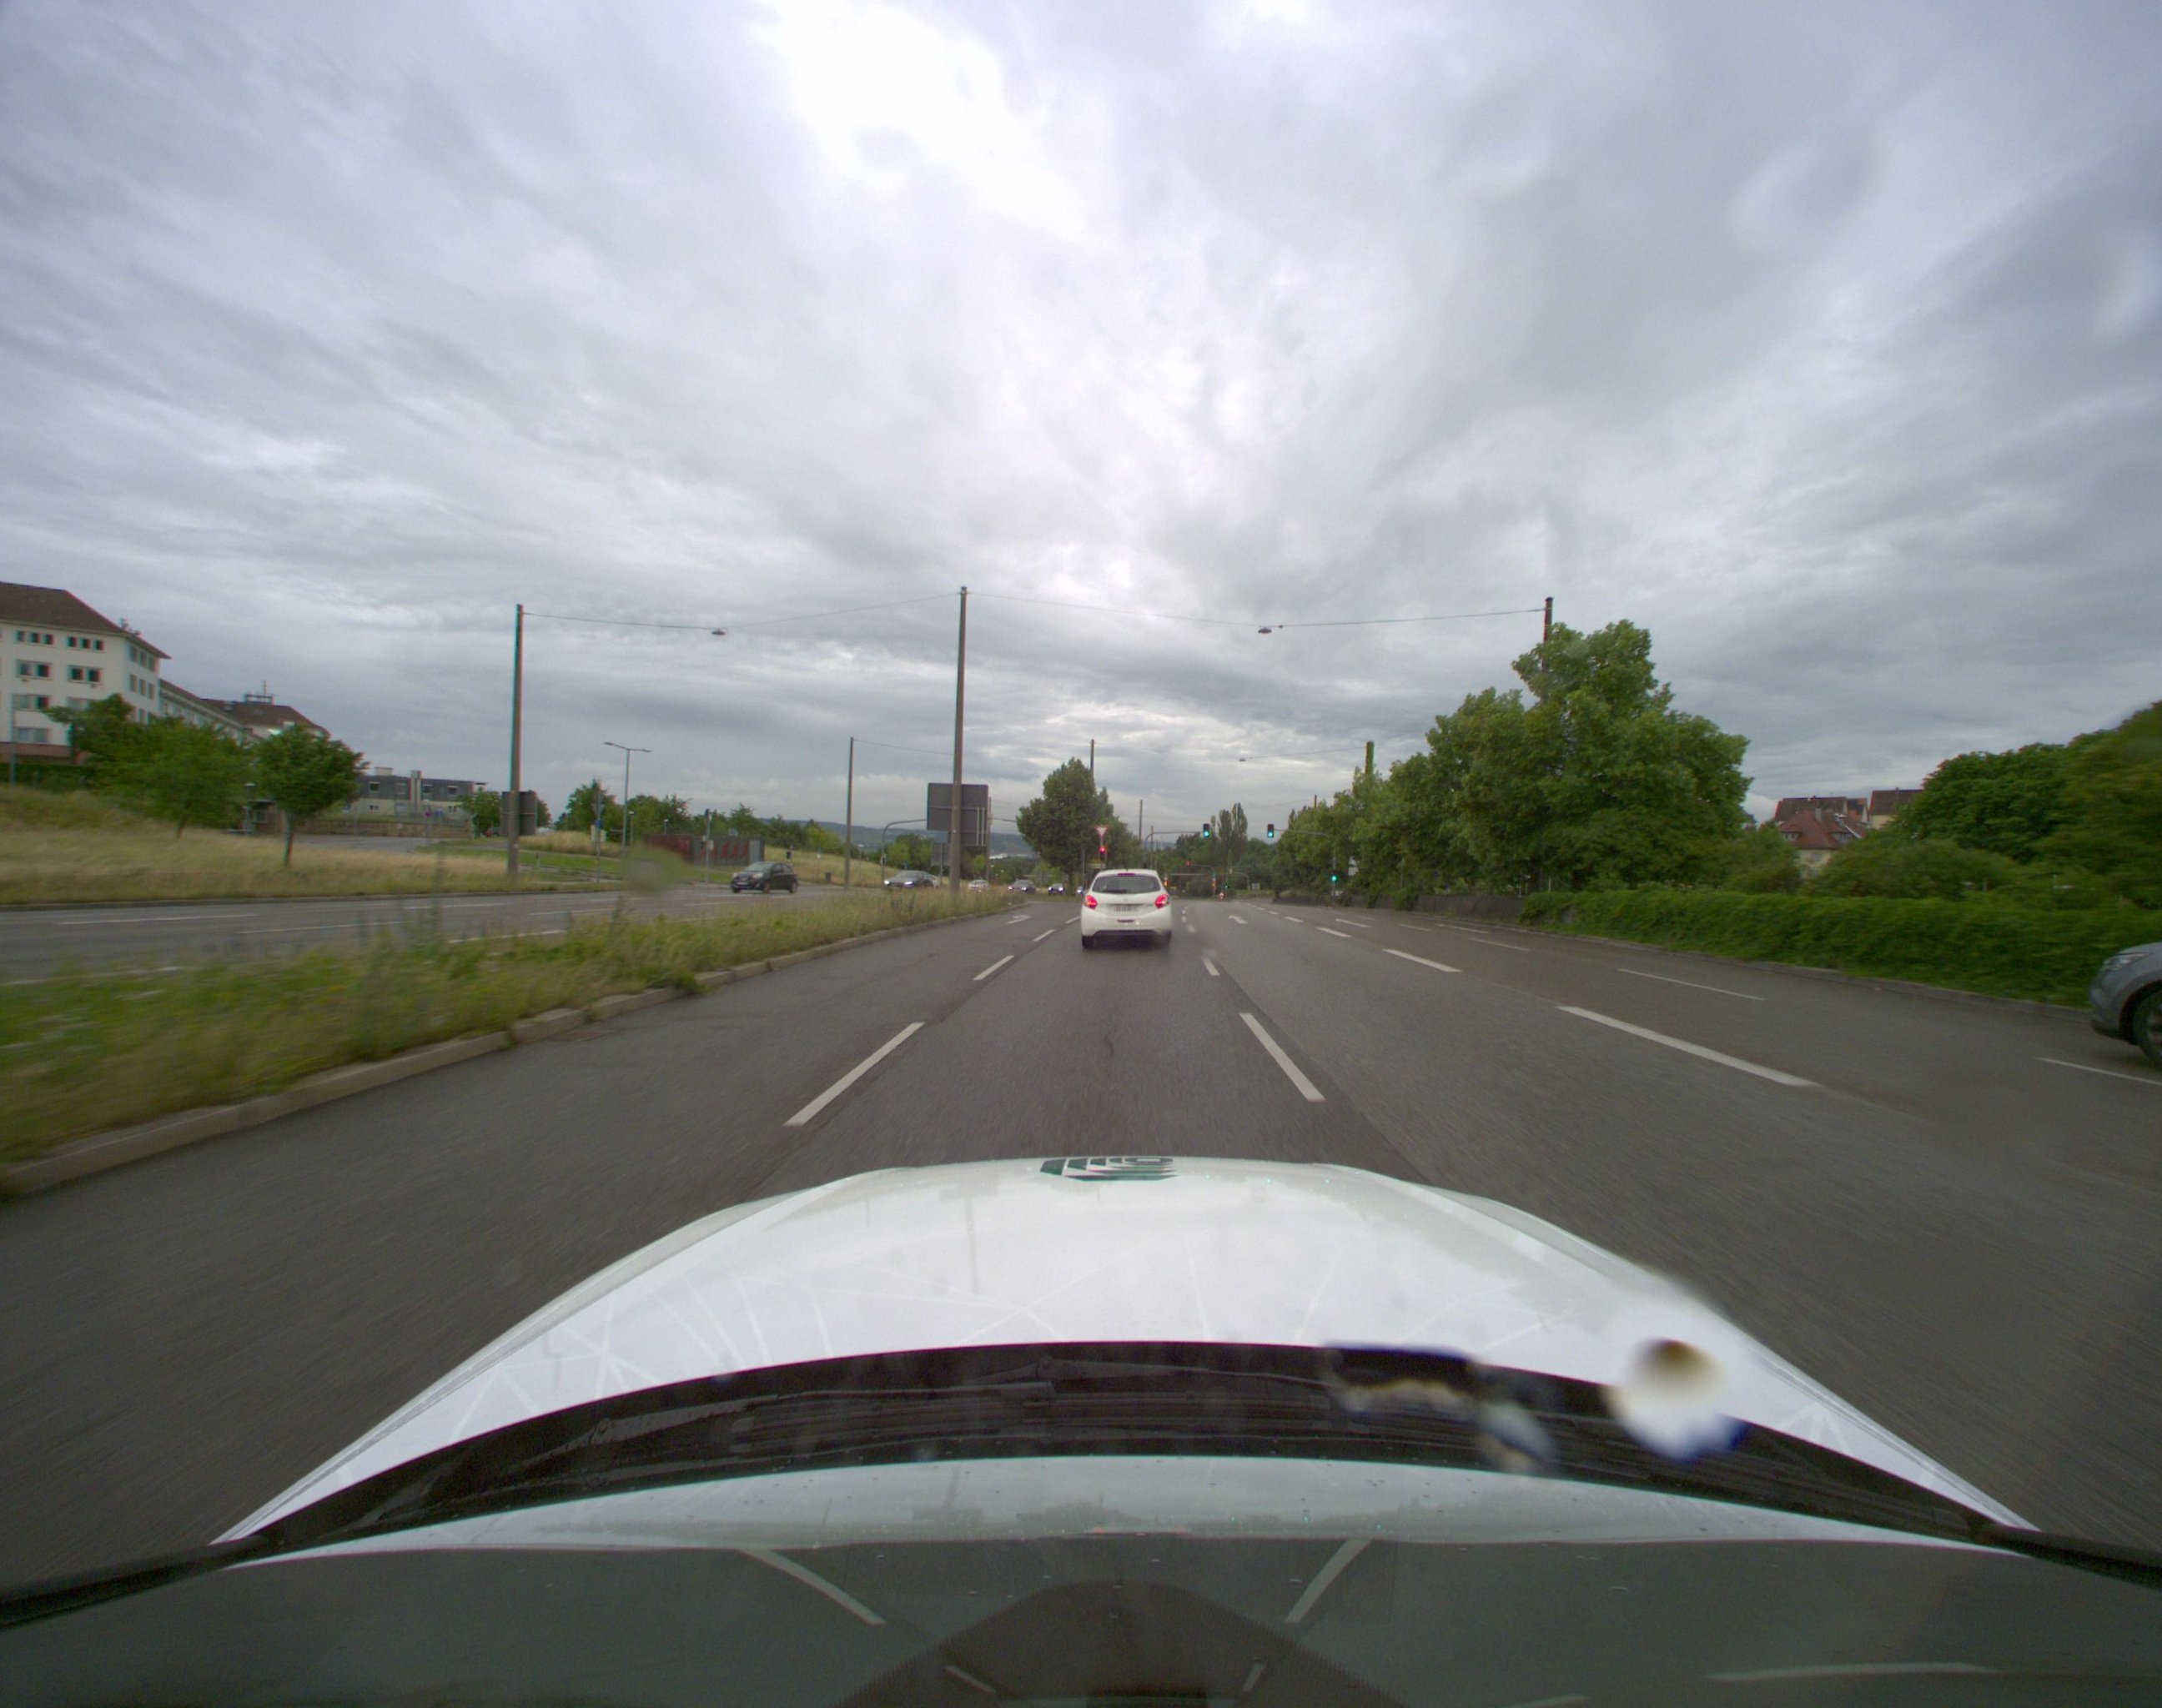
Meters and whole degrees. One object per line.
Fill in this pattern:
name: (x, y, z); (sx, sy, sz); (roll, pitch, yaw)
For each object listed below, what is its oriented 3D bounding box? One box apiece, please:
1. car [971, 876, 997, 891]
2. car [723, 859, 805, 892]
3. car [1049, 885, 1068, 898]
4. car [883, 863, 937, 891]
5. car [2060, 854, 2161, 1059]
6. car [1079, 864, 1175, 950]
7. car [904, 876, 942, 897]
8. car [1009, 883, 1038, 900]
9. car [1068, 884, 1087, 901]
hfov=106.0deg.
car: (-10.143, 3.075, 85.196); (1.642, 1.463, 3.782); (1, -3, 9)
car: (-14.946, 1.038, 38.589); (1.757, 1.384, 4.009); (1, -3, 9)
car: (-2.641, 4.447, 95.941); (1.529, 1.504, 3.670); (1, -3, 9)
car: (-10.040, 1.379, 48.072); (1.757, 1.518, 4.009); (1, -3, 9)
car: (9.526, 0.864, 4.923); (1.719, 1.649, 4.627); (3, 0, 2)
car: (0.919, 0.966, 16.311); (1.701, 1.440, 3.694); (0, 0, 3)
car: (-13.230, 2.767, 68.570); (1.757, 1.649, 4.187); (1, -3, 9)
car: (-5.363, 3.483, 76.300); (1.740, 1.504, 4.474); (1, -3, 9)
car: (-0.488, 5.234, 111.178); (1.876, 2.013, 3.941); (1, 0, 11)
